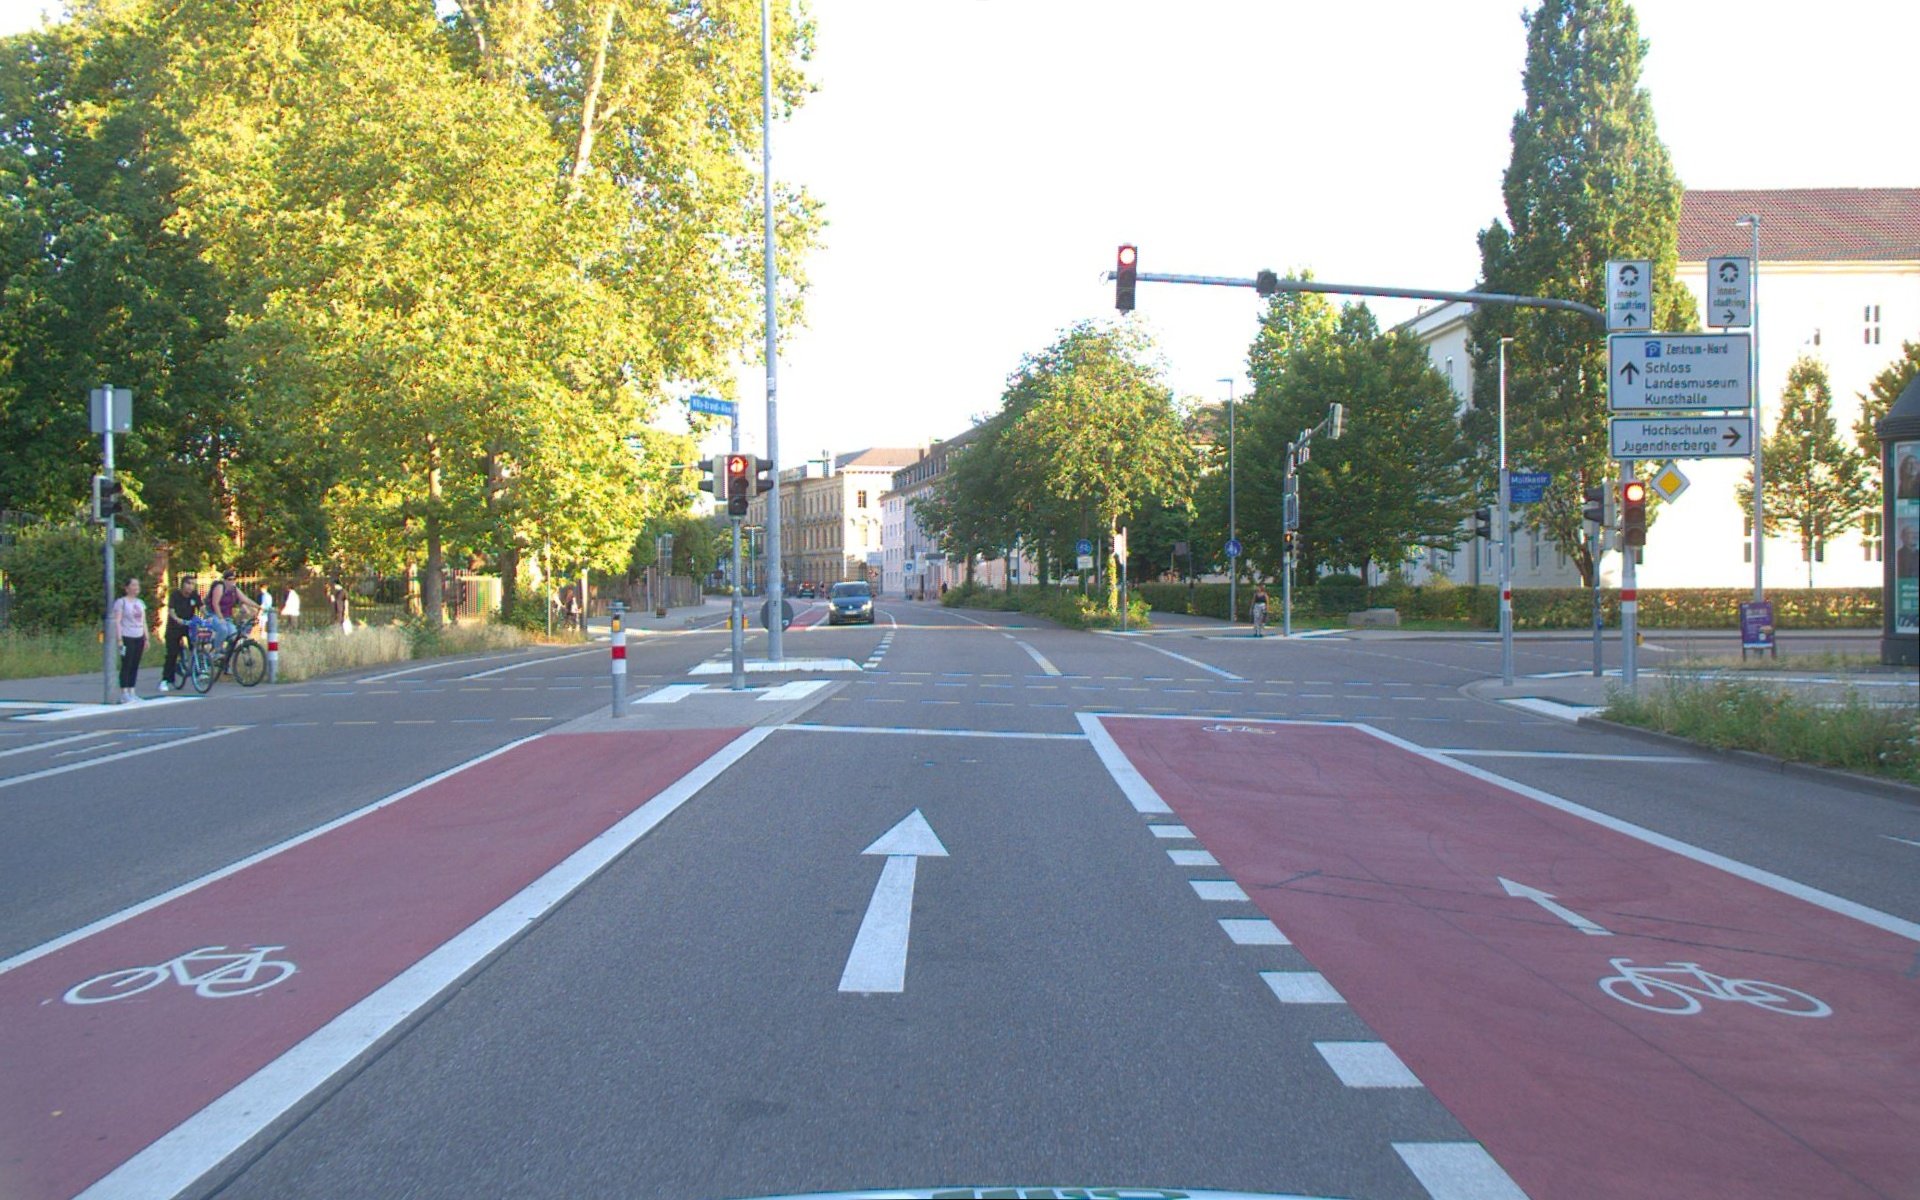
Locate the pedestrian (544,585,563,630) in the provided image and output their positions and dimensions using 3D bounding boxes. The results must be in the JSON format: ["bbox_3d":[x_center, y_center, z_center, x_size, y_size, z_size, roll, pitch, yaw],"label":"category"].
[{"bbox_3d":[-14.822,0.285,60.328,0.524,1.624,0.590,-1,0,0],"label":"pedestrian"}]

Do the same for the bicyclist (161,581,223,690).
[{"bbox_3d":[-12.054,0.546,25.970,0.625,1.678,0.629,0,0,30],"label":"bicyclist"}]

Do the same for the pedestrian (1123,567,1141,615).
[{"bbox_3d":[7.411,-0.398,71.297,0.622,2.049,0.720,1,0,-4],"label":"pedestrian"}]

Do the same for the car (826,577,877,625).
[{"bbox_3d":[-4.243,0.031,65.239,1.812,1.750,4.294,-2,0,-2],"label":"car"}]

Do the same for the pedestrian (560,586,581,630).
[{"bbox_3d":[-14.183,0.291,60.208,0.586,1.601,0.646,-1,0,0],"label":"pedestrian"}]

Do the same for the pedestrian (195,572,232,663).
[{"bbox_3d":[-16.956,0.383,37.572,0.644,2.049,0.598,0,0,-39],"label":"pedestrian"}]

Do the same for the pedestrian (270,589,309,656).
[{"bbox_3d":[-21.009,0.691,51.863,0.744,2.049,1.077,1,0,2],"label":"pedestrian"}]

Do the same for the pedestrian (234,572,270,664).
[{"bbox_3d":[-16.099,0.399,37.589,0.590,2.049,0.633,0,0,-40],"label":"pedestrian"}]

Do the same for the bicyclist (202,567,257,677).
[{"bbox_3d":[-12.220,0.354,27.666,0.625,1.811,0.575,0,0,30],"label":"bicyclist"}]

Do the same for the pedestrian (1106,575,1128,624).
[{"bbox_3d":[6.703,-0.019,70.458,0.852,2.049,0.722,1,0,0],"label":"pedestrian"}]

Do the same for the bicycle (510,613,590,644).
[{"bbox_3d":[-13.155,0.913,53.083,2.380,0.940,0.775,-1,0,0],"label":"bicycle"}]

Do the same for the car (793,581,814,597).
[{"bbox_3d":[-17.279,-1.209,182.348,1.789,1.616,3.986,-2,1,-14],"label":"car"}]

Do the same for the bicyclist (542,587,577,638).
[{"bbox_3d":[-13.184,0.400,54.452,0.938,1.659,0.753,0,0,0],"label":"bicyclist"}]

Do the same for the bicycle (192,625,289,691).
[{"bbox_3d":[-11.986,0.949,27.533,1.734,1.048,0.578,0,0,31],"label":"bicycle"}]

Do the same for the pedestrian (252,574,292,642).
[{"bbox_3d":[-21.054,0.233,50.635,0.786,2.049,0.993,1,0,0],"label":"pedestrian"}]

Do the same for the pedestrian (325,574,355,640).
[{"bbox_3d":[-19.198,0.209,51.238,0.626,2.049,0.701,-1,0,2],"label":"pedestrian"}]

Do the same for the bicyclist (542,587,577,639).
[{"bbox_3d":[-12.847,0.413,53.080,0.938,1.659,0.753,0,0,0],"label":"bicyclist"}]

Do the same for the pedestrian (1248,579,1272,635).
[{"bbox_3d":[9.044,0.205,49.816,0.587,1.664,0.691,1,1,0],"label":"pedestrian"}]

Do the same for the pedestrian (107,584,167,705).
[{"bbox_3d":[-11.850,0.635,23.826,0.594,1.725,0.498,-1,0,1],"label":"pedestrian"}]

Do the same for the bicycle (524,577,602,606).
[{"bbox_3d":[-13.060,-0.287,54.459,2.380,0.940,0.775,-1,0,0],"label":"bicycle"}]

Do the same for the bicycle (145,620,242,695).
[{"bbox_3d":[-12.036,0.892,25.961,1.535,1.130,0.631,0,0,31],"label":"bicycle"}]
